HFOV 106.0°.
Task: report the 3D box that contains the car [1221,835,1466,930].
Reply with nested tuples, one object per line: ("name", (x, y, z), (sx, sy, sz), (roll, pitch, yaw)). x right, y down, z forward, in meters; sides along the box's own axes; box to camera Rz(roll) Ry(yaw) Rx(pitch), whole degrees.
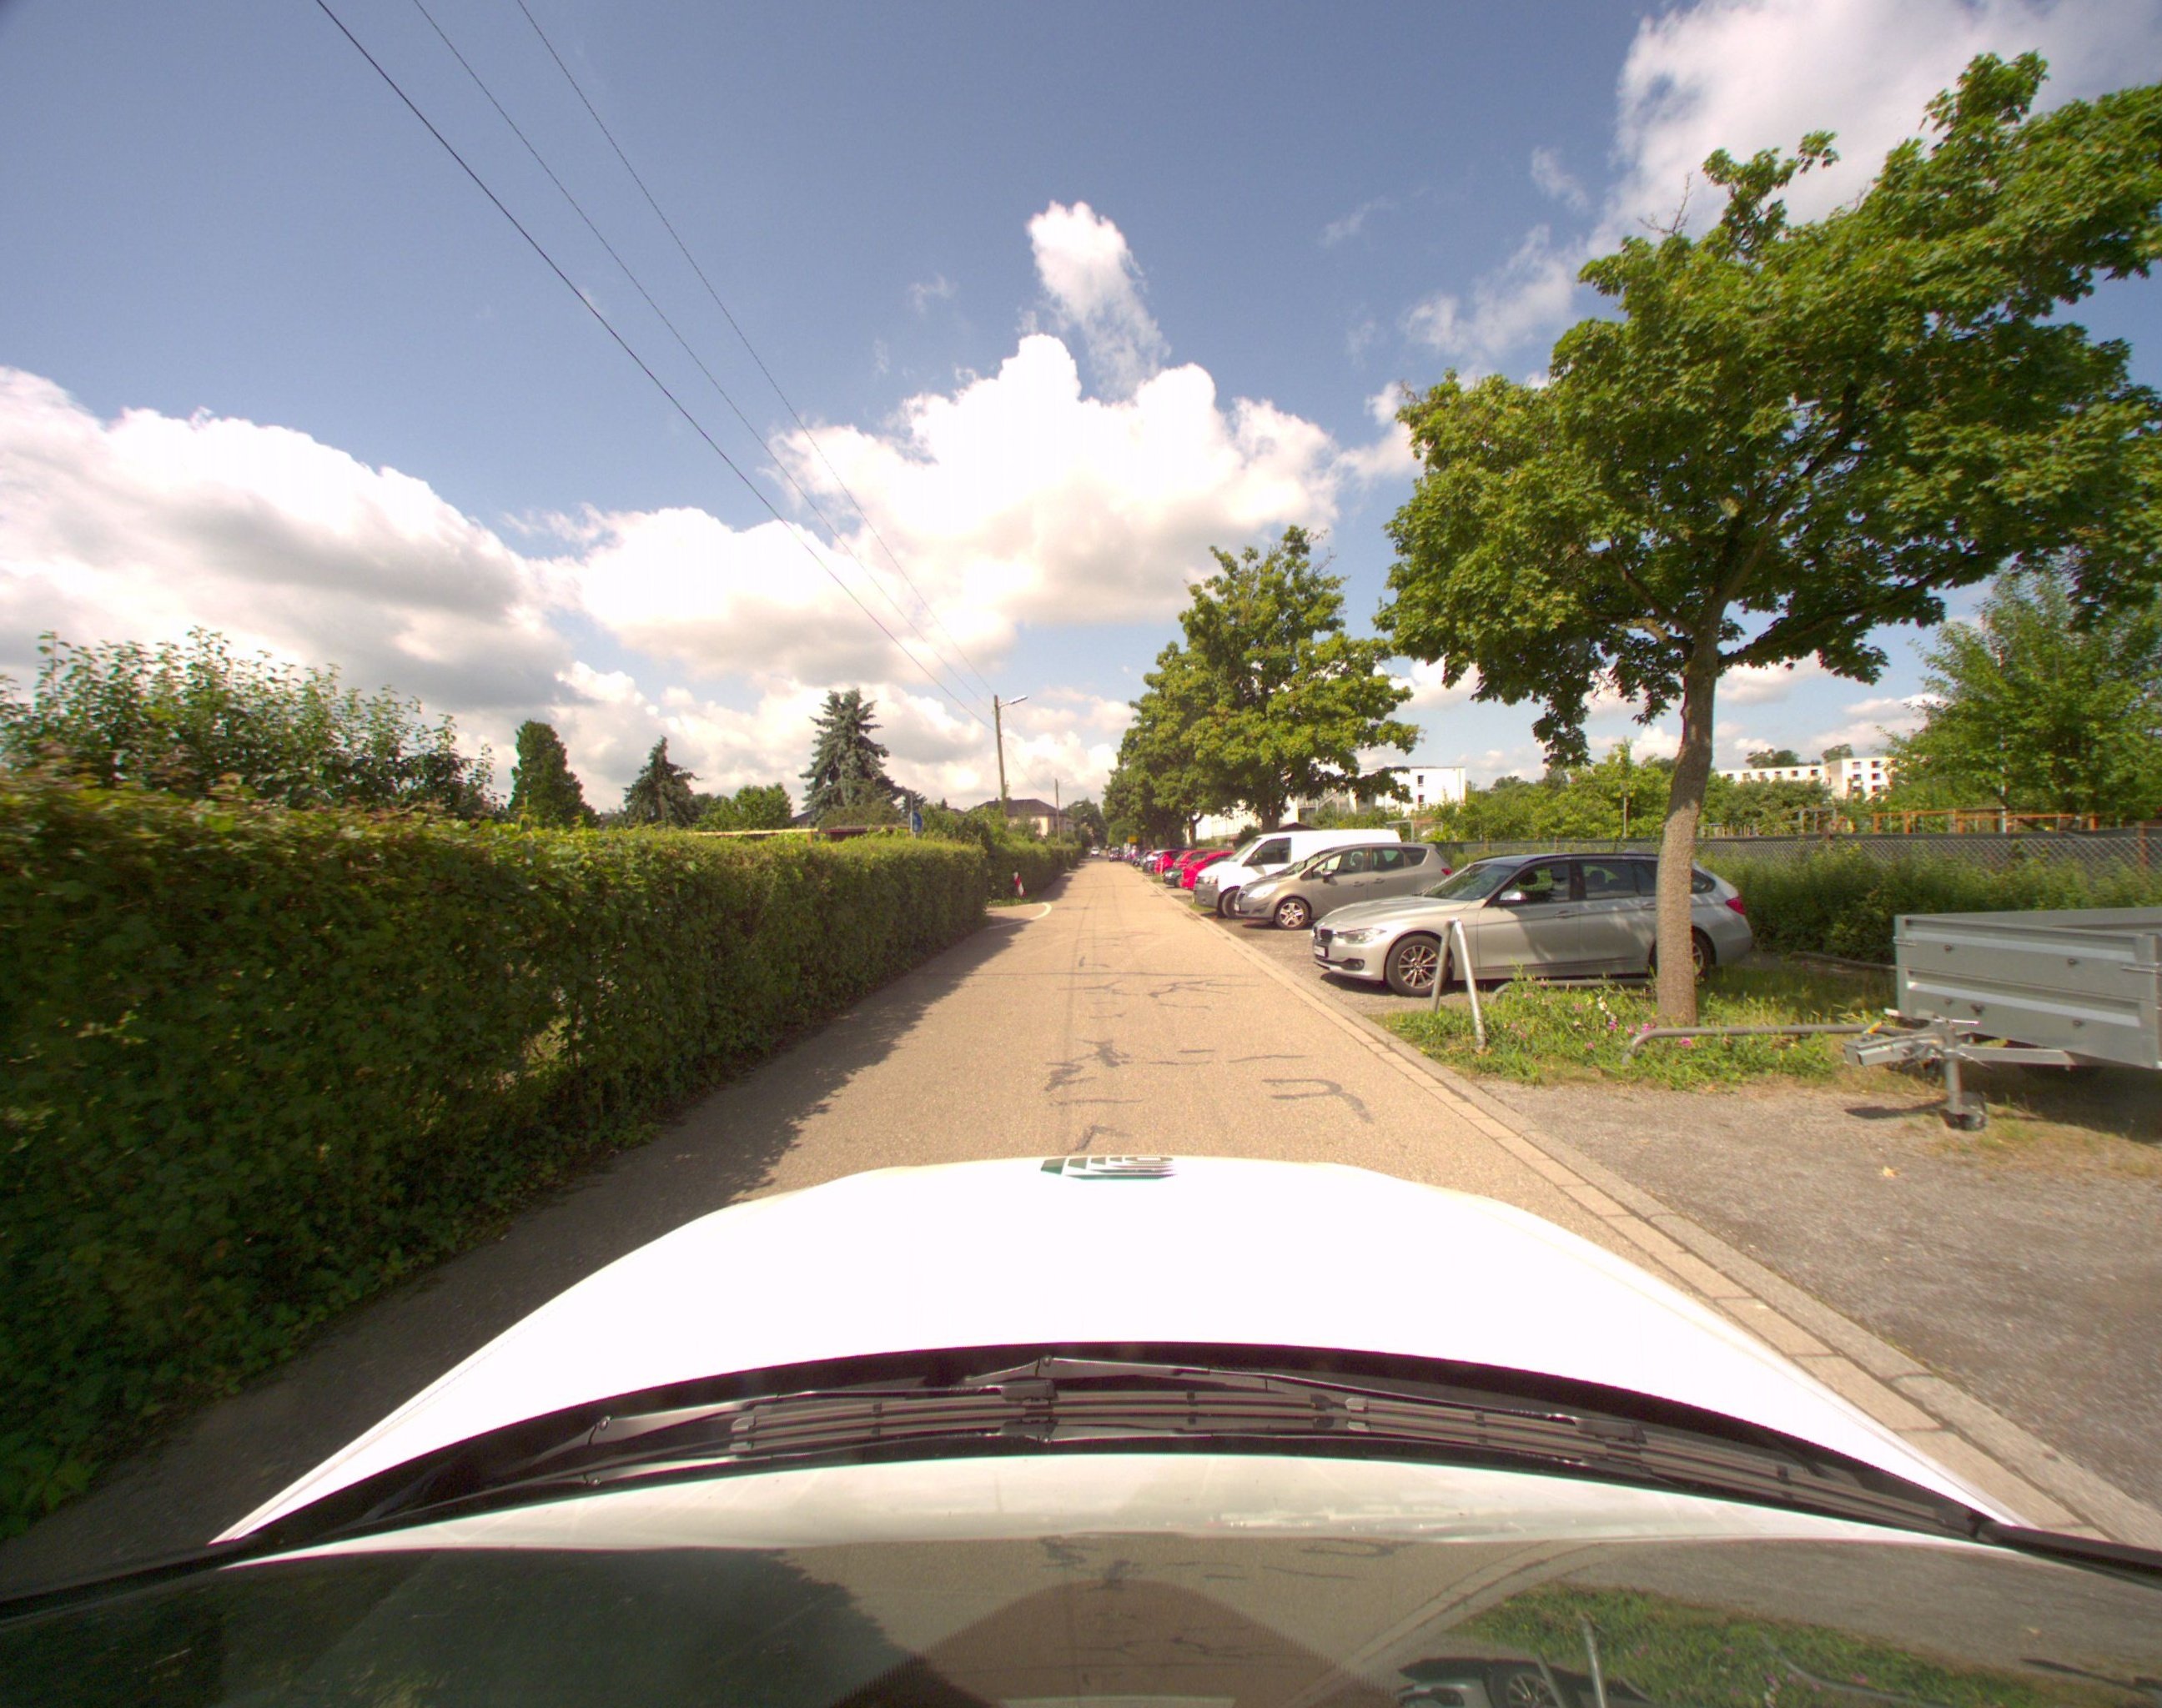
("car", (5.069, 0.517, 16.212), (4.228, 1.592, 2.001), (-3, 0, 1))

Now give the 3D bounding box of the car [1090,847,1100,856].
("car", (2.874, -0.525, 172.001), (1.894, 1.814, 4.005), (0, 0, 4))

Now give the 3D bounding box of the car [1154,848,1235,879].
("car", (5.718, 0.485, 41.355), (3.968, 1.519, 1.857), (0, 0, 4))

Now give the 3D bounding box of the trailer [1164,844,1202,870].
("trailer", (6.978, 0.205, 55.823), (2.444, 1.720, 1.517), (0, 1, -3))

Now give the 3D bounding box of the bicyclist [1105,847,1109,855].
("bicyclist", (5.523, -0.636, 173.932), (0.656, 1.852, 1.044), (-3, 0, 4))

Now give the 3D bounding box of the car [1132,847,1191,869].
("car", (6.006, 0.298, 61.312), (4.287, 1.594, 2.000), (0, 0, 0))

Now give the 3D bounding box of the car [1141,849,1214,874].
("car", (5.645, 0.425, 48.041), (4.053, 1.455, 1.869), (0, 0, -1))

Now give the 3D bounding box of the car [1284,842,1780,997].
("car", (4.848, 0.648, 9.256), (4.566, 1.466, 1.999), (-1, 0, -2))

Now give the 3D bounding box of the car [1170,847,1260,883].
("car", (5.958, 0.467, 36.547), (3.751, 1.573, 1.870), (0, 0, 0))

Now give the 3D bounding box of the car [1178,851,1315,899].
("car", (5.310, 0.664, 26.606), (4.166, 1.504, 1.879), (0, 0, 2))

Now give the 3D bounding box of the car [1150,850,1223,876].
("car", (5.762, 0.492, 44.870), (3.892, 1.423, 1.960), (0, 0, 4))

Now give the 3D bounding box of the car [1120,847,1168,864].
("car", (6.021, 0.124, 78.555), (4.534, 1.578, 1.808), (0, 0, 0))

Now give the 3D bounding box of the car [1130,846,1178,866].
("car", (6.418, 0.181, 71.904), (4.139, 1.637, 1.879), (-2, 0, 1))

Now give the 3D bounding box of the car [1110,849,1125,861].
("car", (4.633, 0.083, 103.389), (1.655, 1.506, 4.007), (0, 0, 6))

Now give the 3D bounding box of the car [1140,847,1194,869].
("car", (6.186, 0.288, 58.725), (3.713, 1.540, 1.848), (0, 0, -2))

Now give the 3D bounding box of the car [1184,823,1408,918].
("car", (4.868, 0.342, 18.961), (4.620, 1.886, 2.111), (-3, 0, -1))

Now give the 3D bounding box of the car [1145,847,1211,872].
("car", (6.102, 0.348, 51.641), (4.046, 1.511, 1.960), (0, 0, 4))

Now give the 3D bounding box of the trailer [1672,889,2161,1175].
("trailer", (5.533, 0.813, 4.509), (3.088, 1.142, 2.001), (0, 0, 1))

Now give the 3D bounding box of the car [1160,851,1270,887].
("car", (5.497, 0.609, 33.829), (4.228, 1.428, 1.906), (0, 0, -3))
